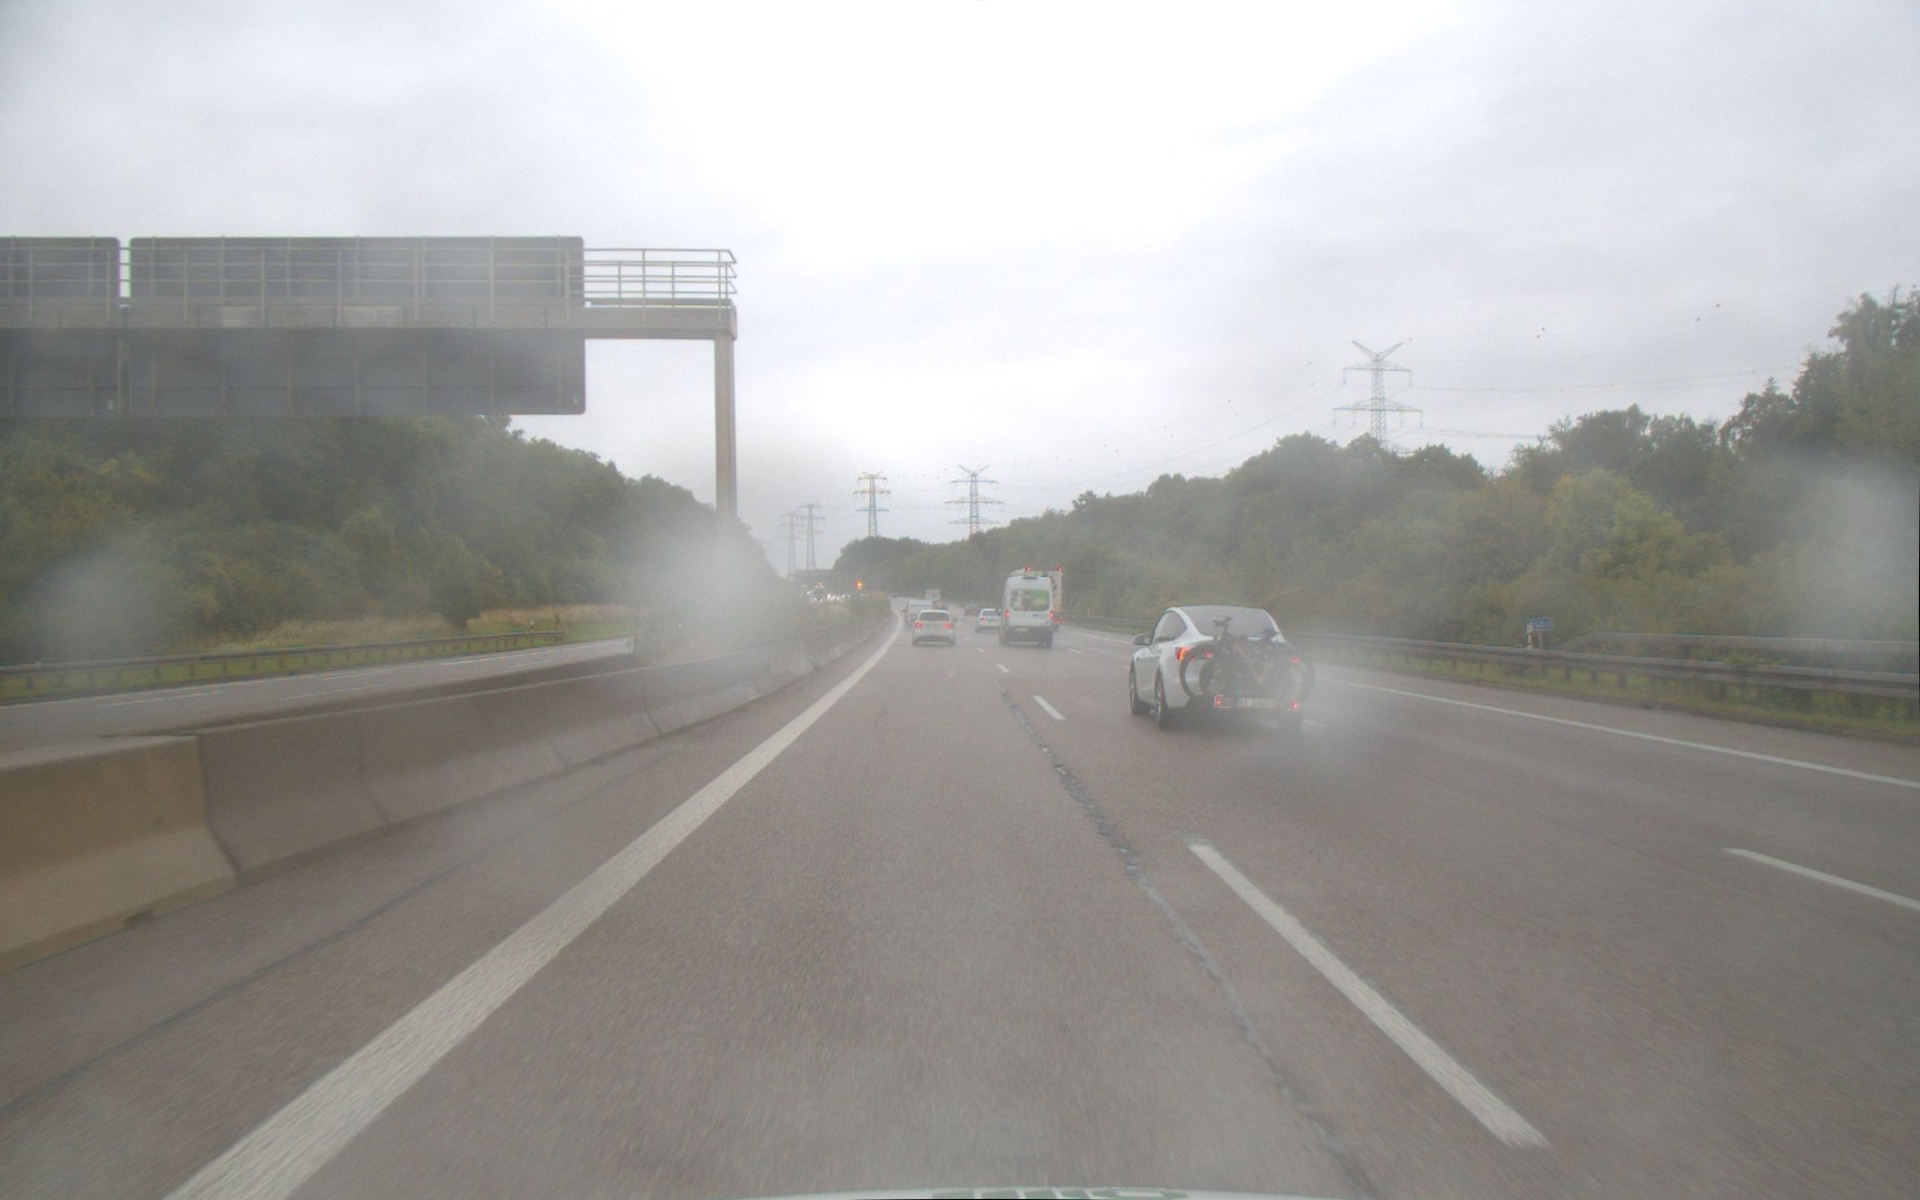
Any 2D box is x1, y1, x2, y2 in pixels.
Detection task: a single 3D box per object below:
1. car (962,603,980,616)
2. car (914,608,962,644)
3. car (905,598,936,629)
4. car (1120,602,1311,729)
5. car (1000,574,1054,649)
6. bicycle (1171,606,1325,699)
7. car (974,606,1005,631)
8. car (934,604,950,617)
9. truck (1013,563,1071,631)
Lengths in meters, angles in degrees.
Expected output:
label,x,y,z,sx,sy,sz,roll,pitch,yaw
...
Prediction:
label,x,y,z,sx,sy,sz,roll,pitch,yaw
car,1.301,1.134,199.206,1.953,1.512,3.999,-2,0,-1
car,-0.899,1.020,66.422,1.829,1.310,3.999,-2,0,-1
car,-2.378,0.809,99.528,1.808,1.803,3.999,1,-1,-1
car,3.476,0.832,23.387,1.822,1.595,4.962,1,0,-1
car,2.711,0.462,67.876,1.953,2.914,4.000,-2,-1,0
bicycle,3.535,0.644,20.414,1.718,1.110,0.913,0,-1,-2
car,1.799,1.099,100.495,1.819,1.447,4.000,0,0,0
car,-2.333,1.347,214.899,1.953,1.601,3.999,-1,-1,-1
truck,5.537,-0.158,114.574,3.529,4.408,13.200,0,0,1
